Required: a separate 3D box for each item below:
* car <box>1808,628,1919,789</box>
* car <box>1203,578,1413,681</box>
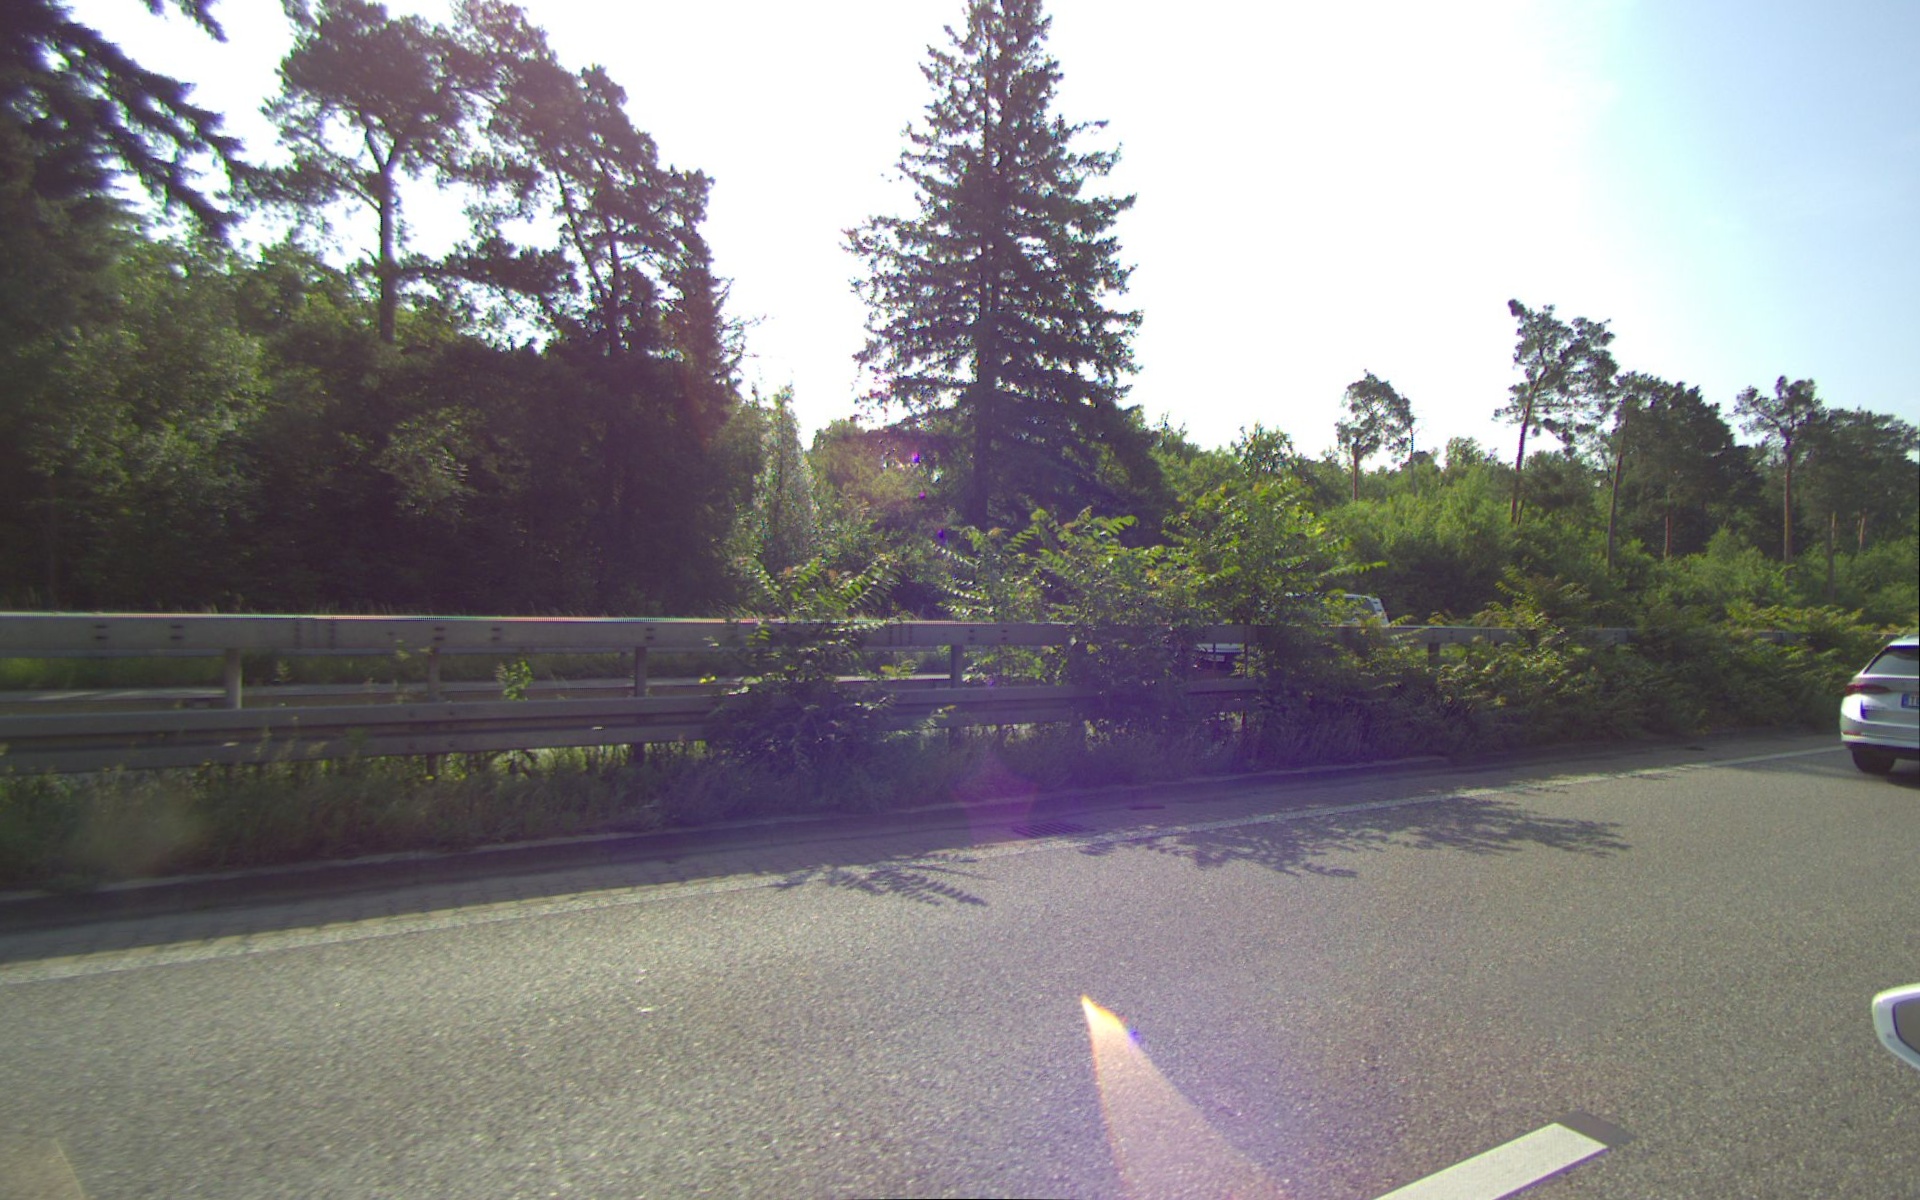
[{"bbox_3d":[11.027,1.037,10.439,5.217,1.457,1.784,1,-1,-31],"label":"car"},{"bbox_3d":[7.545,0.635,21.673,4.441,2.040,1.807,2,0,-30],"label":"car"}]
